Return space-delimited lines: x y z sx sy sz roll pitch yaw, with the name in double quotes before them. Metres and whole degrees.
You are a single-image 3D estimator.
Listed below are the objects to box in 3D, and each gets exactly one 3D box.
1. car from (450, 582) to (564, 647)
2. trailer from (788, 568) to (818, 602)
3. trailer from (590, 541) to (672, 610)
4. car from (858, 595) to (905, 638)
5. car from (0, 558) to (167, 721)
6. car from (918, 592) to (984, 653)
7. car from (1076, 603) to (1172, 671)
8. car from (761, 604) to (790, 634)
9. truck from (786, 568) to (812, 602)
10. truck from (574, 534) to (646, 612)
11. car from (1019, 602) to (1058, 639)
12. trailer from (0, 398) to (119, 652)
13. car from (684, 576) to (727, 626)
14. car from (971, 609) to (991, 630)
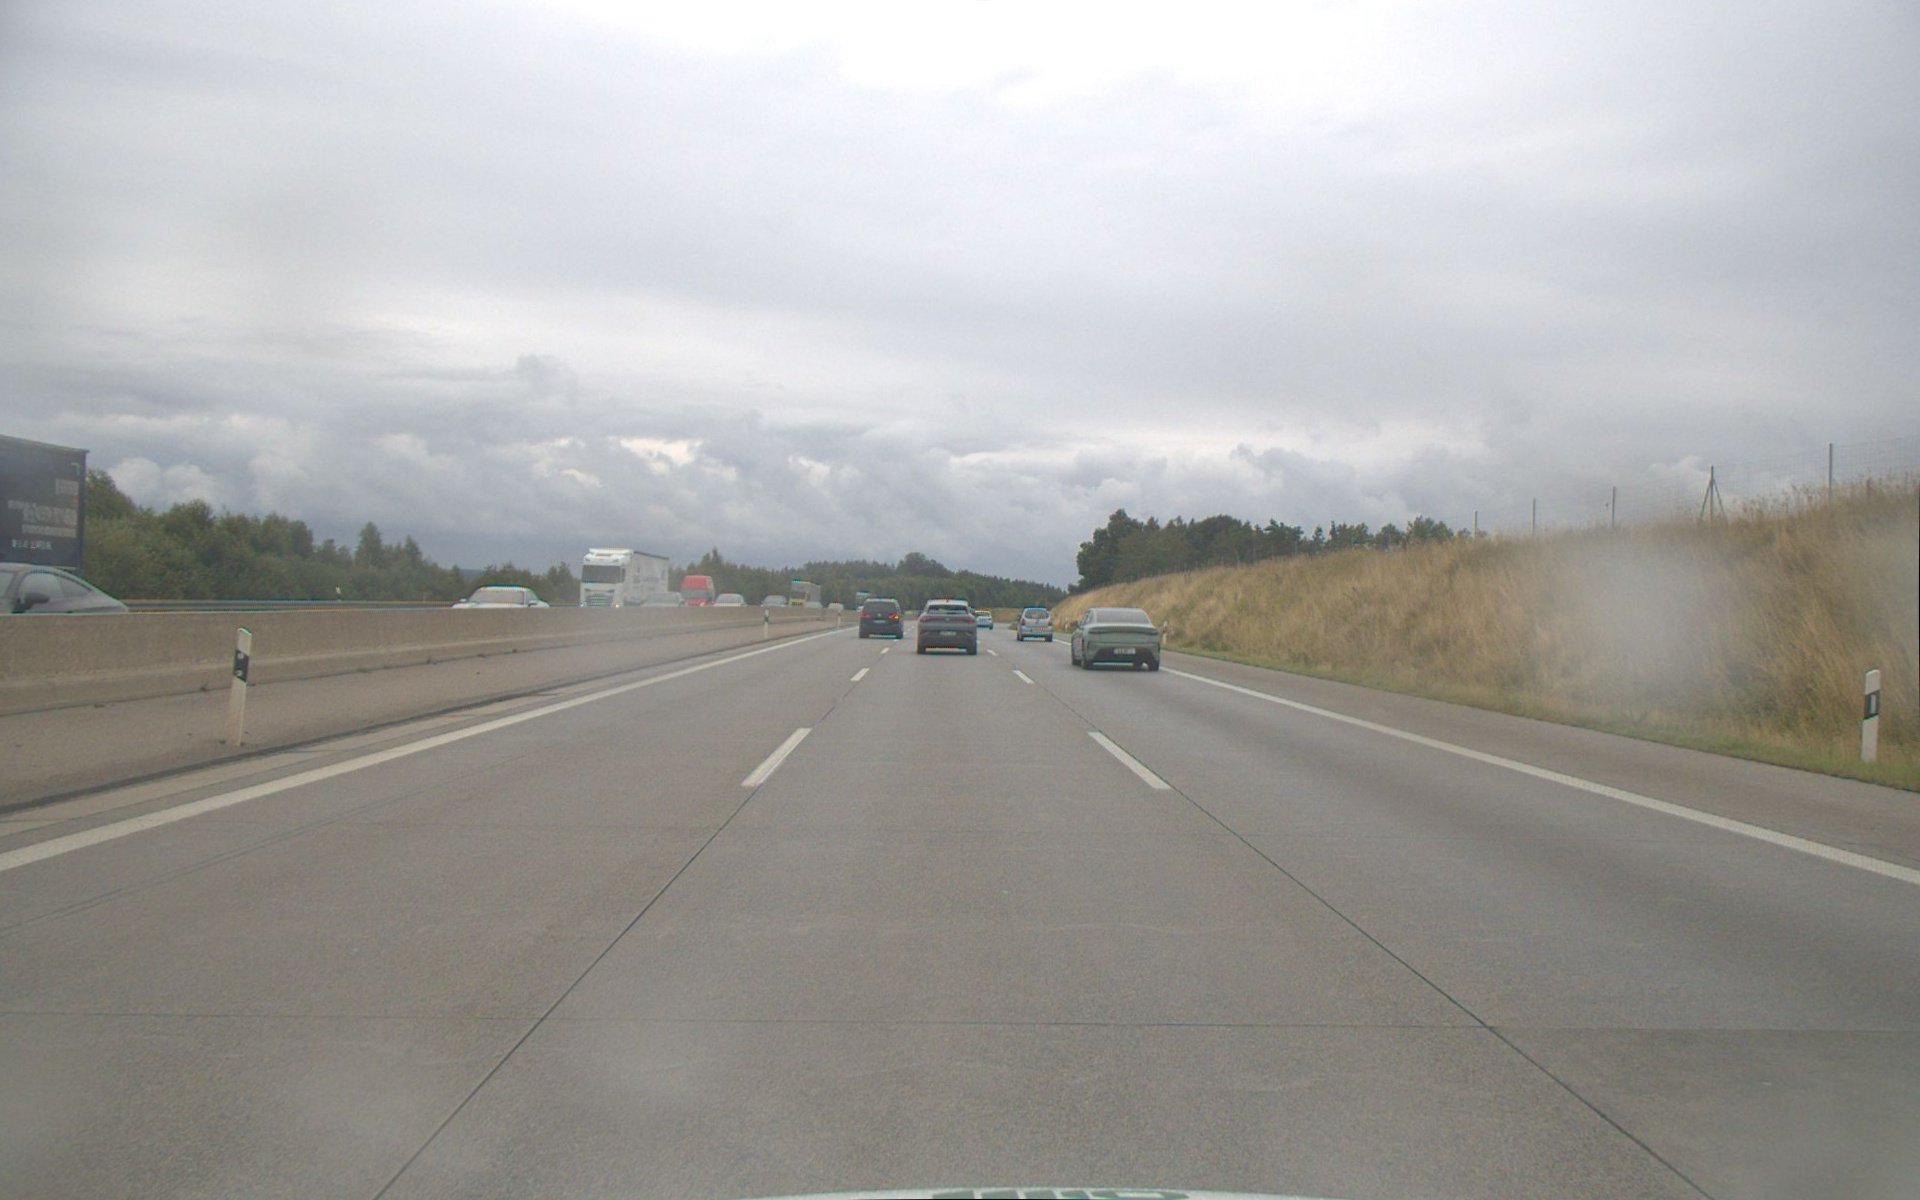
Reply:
"car" -12.442 0.356 45.707 1.953 1.691 4.525 1 1 -1
"trailer" -20.510 -1.976 216.760 2.859 4.291 11.872 1 1 0
"trailer" -20.738 -1.532 105.037 2.829 4.072 13.011 1 1 -1
"car" -3.416 0.705 72.790 1.748 1.777 3.916 1 1 1
"car" -11.406 0.394 19.550 1.953 1.769 4.525 1 1 -1
"car" -0.330 0.656 51.221 1.860 1.719 5.264 1 1 -2
"car" 3.952 0.863 40.612 1.972 1.471 4.746 1 1 1
"car" -13.296 1.351 119.374 1.654 2.049 4.835 1 1 -2
"truck" -20.401 -1.903 209.705 2.872 4.253 5.856 1 1 -2
"truck" -20.553 -1.571 97.606 2.825 4.366 7.135 1 1 -1
"car" 3.461 0.905 73.740 1.455 1.496 3.504 4 1 -1
"trailer" -20.161 -1.444 29.912 3.525 4.883 12.905 1 1 -1
"car" -16.093 0.045 104.740 1.764 3.010 5.579 1 0 0
"car" 1.665 1.589 133.301 1.455 1.496 3.504 4 1 -1
